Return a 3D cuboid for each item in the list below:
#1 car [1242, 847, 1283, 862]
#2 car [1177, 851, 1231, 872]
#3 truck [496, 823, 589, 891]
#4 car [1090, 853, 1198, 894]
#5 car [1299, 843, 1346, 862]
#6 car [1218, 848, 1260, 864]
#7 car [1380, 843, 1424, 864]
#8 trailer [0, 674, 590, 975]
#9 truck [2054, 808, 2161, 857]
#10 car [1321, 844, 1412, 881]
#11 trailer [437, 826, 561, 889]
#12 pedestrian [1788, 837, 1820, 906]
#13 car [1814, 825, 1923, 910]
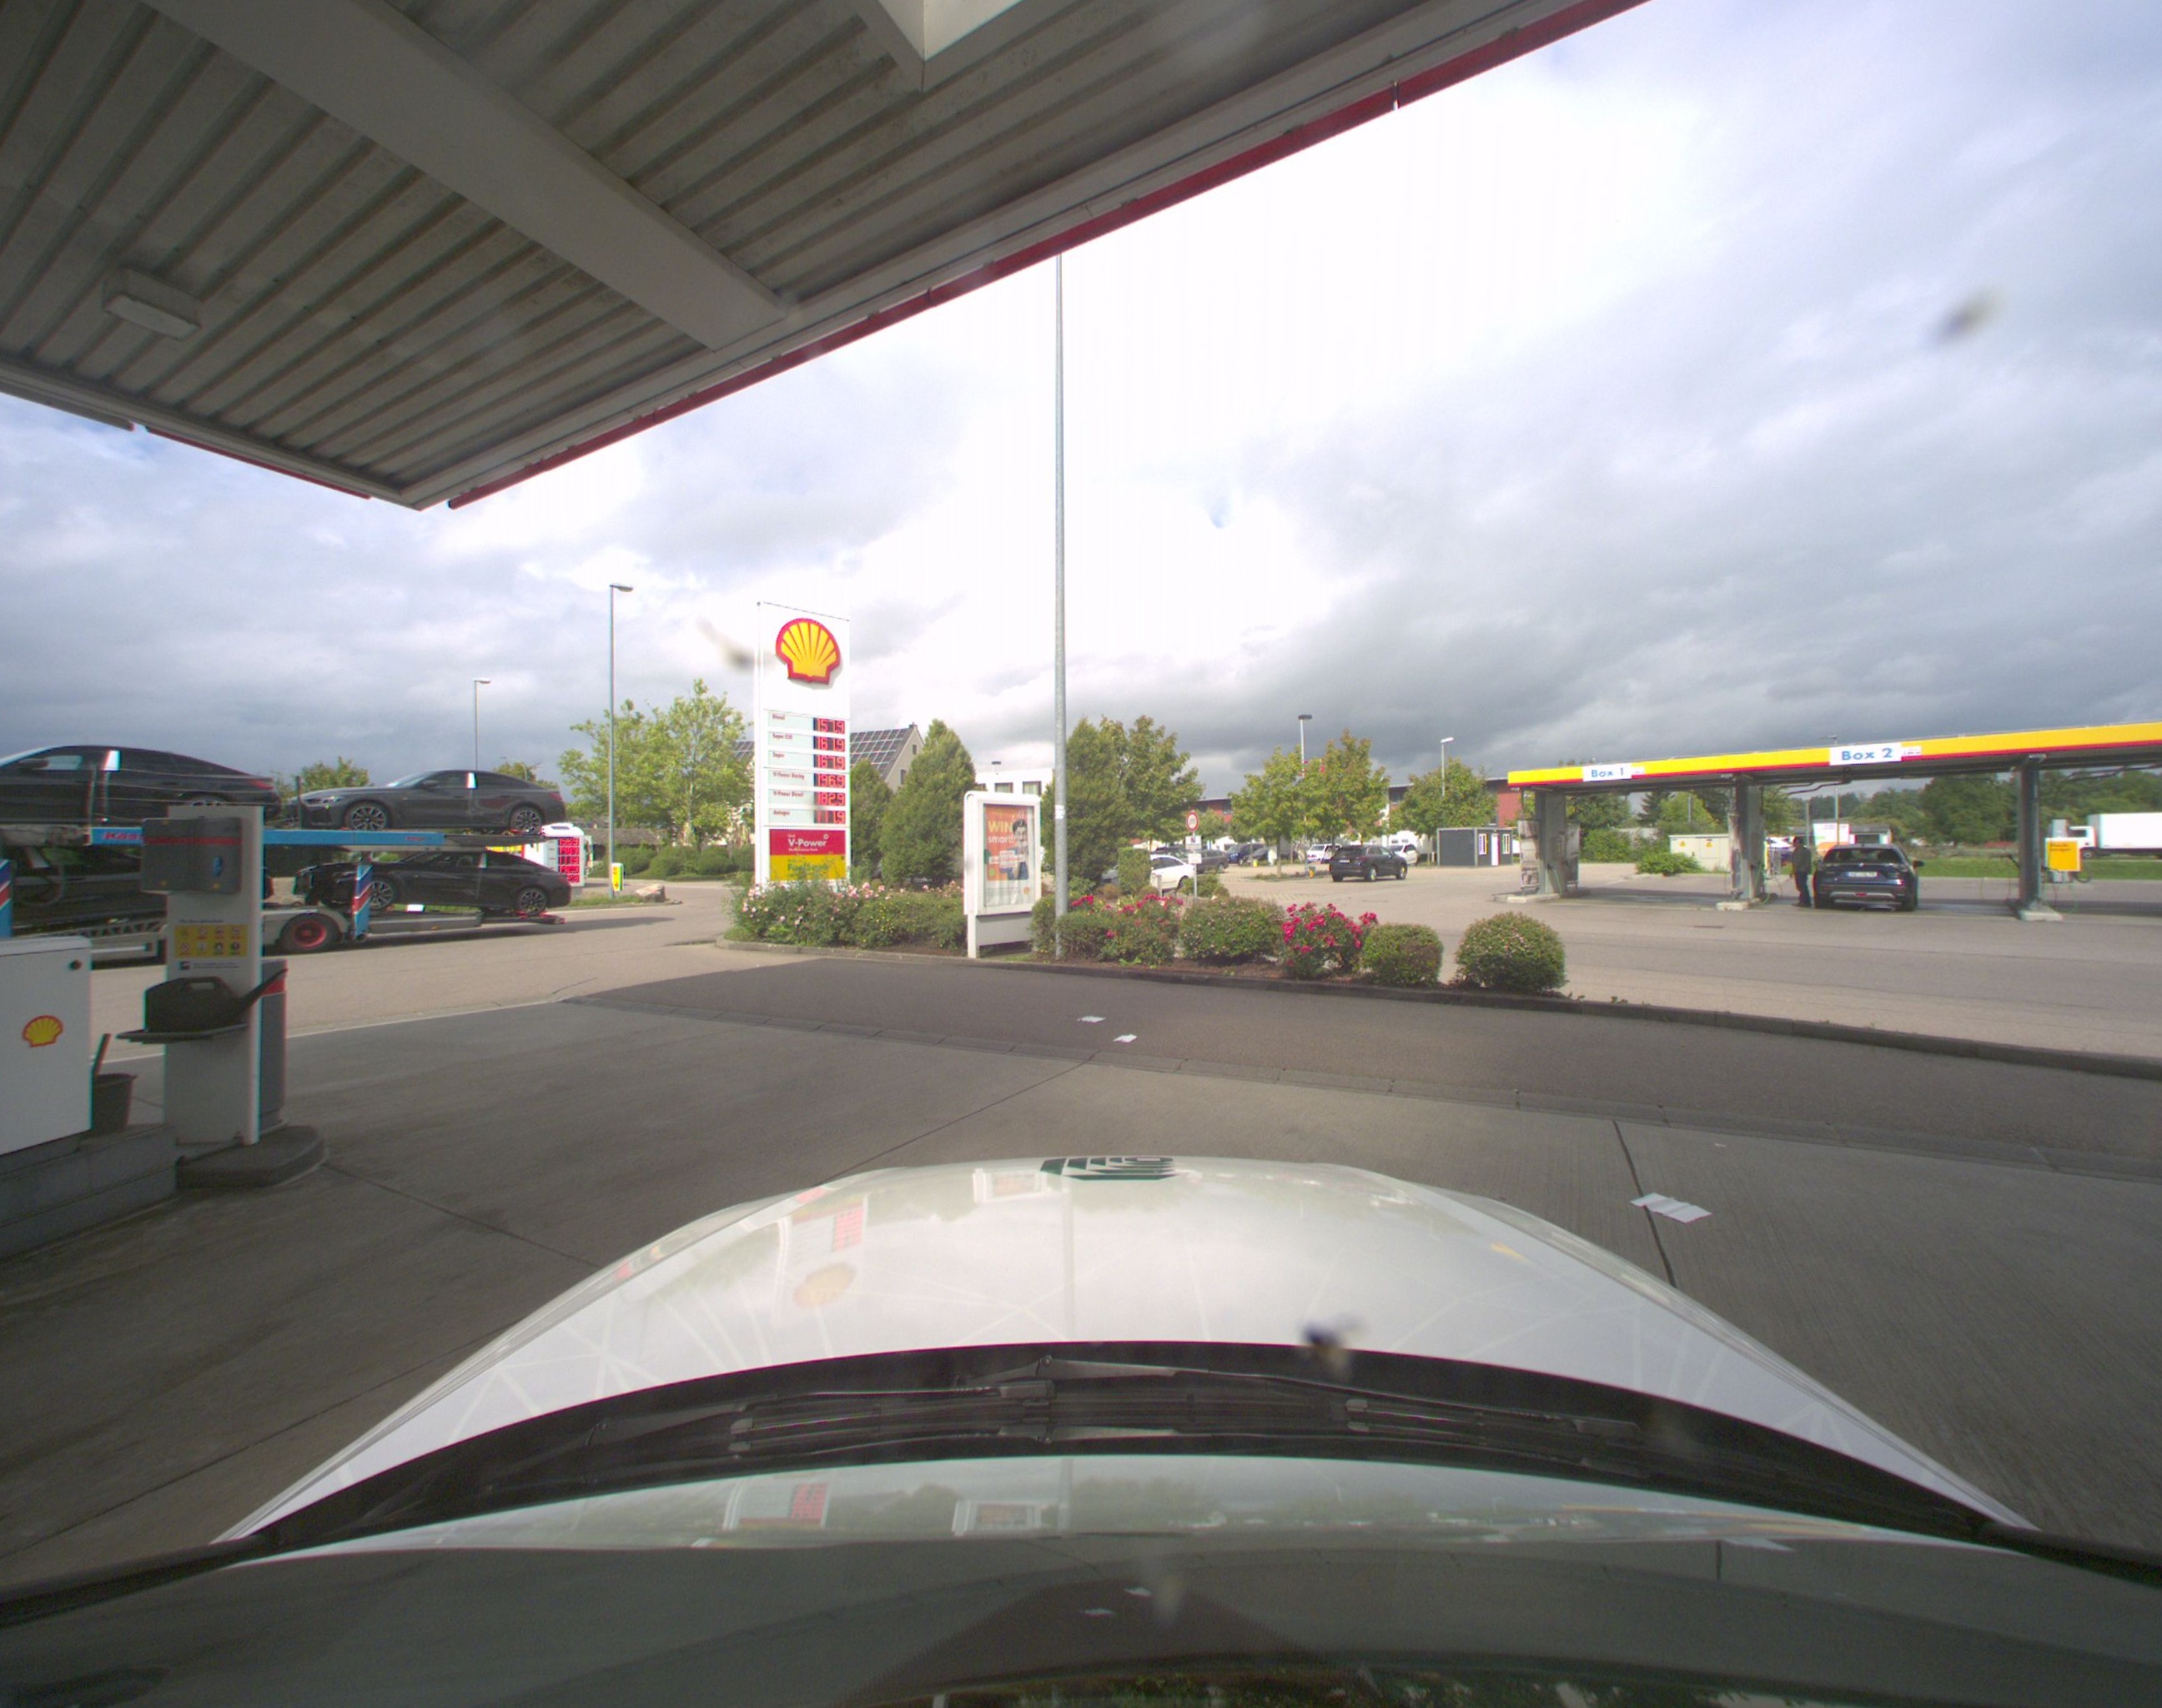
[{"bbox_3d":[14.474,0.031,64.854,3.437,1.179,1.468,0,-1,-42],"label":"car"},{"bbox_3d":[7.524,0.446,49.682,3.245,1.228,1.488,0,-1,-42],"label":"car"},{"bbox_3d":[-32.458,0.207,49.050,5.842,3.846,2.759,-1,-1,36],"label":"truck"},{"bbox_3d":[2.381,0.681,29.997,4.368,1.404,1.354,0,-1,-42],"label":"car"},{"bbox_3d":[23.853,-0.126,80.248,4.903,1.833,2.159,0,-1,-41],"label":"car"},{"bbox_3d":[12.931,0.178,66.638,3.407,1.320,1.726,0,-1,-42],"label":"car"},{"bbox_3d":[20.591,-0.049,52.195,3.120,1.307,1.352,0,-1,-42],"label":"car"},{"bbox_3d":[-16.445,-0.415,13.657,2.711,4.423,14.450,-1,-1,31],"label":"trailer"},{"bbox_3d":[78.213,-1.559,59.996,7.989,3.534,2.714,-1,-1,41],"label":"truck"},{"bbox_3d":[12.862,0.372,36.558,4.527,1.548,1.864,0,-1,-41],"label":"car"},{"bbox_3d":[-38.209,0.284,53.183,12.548,3.776,2.757,-1,-1,36],"label":"trailer"},{"bbox_3d":[18.277,0.438,20.589,0.551,1.722,0.531,-1,-1,38],"label":"pedestrian"},{"bbox_3d":[19.427,0.315,20.054,3.828,1.897,1.703,0,-1,-43],"label":"car"}]
